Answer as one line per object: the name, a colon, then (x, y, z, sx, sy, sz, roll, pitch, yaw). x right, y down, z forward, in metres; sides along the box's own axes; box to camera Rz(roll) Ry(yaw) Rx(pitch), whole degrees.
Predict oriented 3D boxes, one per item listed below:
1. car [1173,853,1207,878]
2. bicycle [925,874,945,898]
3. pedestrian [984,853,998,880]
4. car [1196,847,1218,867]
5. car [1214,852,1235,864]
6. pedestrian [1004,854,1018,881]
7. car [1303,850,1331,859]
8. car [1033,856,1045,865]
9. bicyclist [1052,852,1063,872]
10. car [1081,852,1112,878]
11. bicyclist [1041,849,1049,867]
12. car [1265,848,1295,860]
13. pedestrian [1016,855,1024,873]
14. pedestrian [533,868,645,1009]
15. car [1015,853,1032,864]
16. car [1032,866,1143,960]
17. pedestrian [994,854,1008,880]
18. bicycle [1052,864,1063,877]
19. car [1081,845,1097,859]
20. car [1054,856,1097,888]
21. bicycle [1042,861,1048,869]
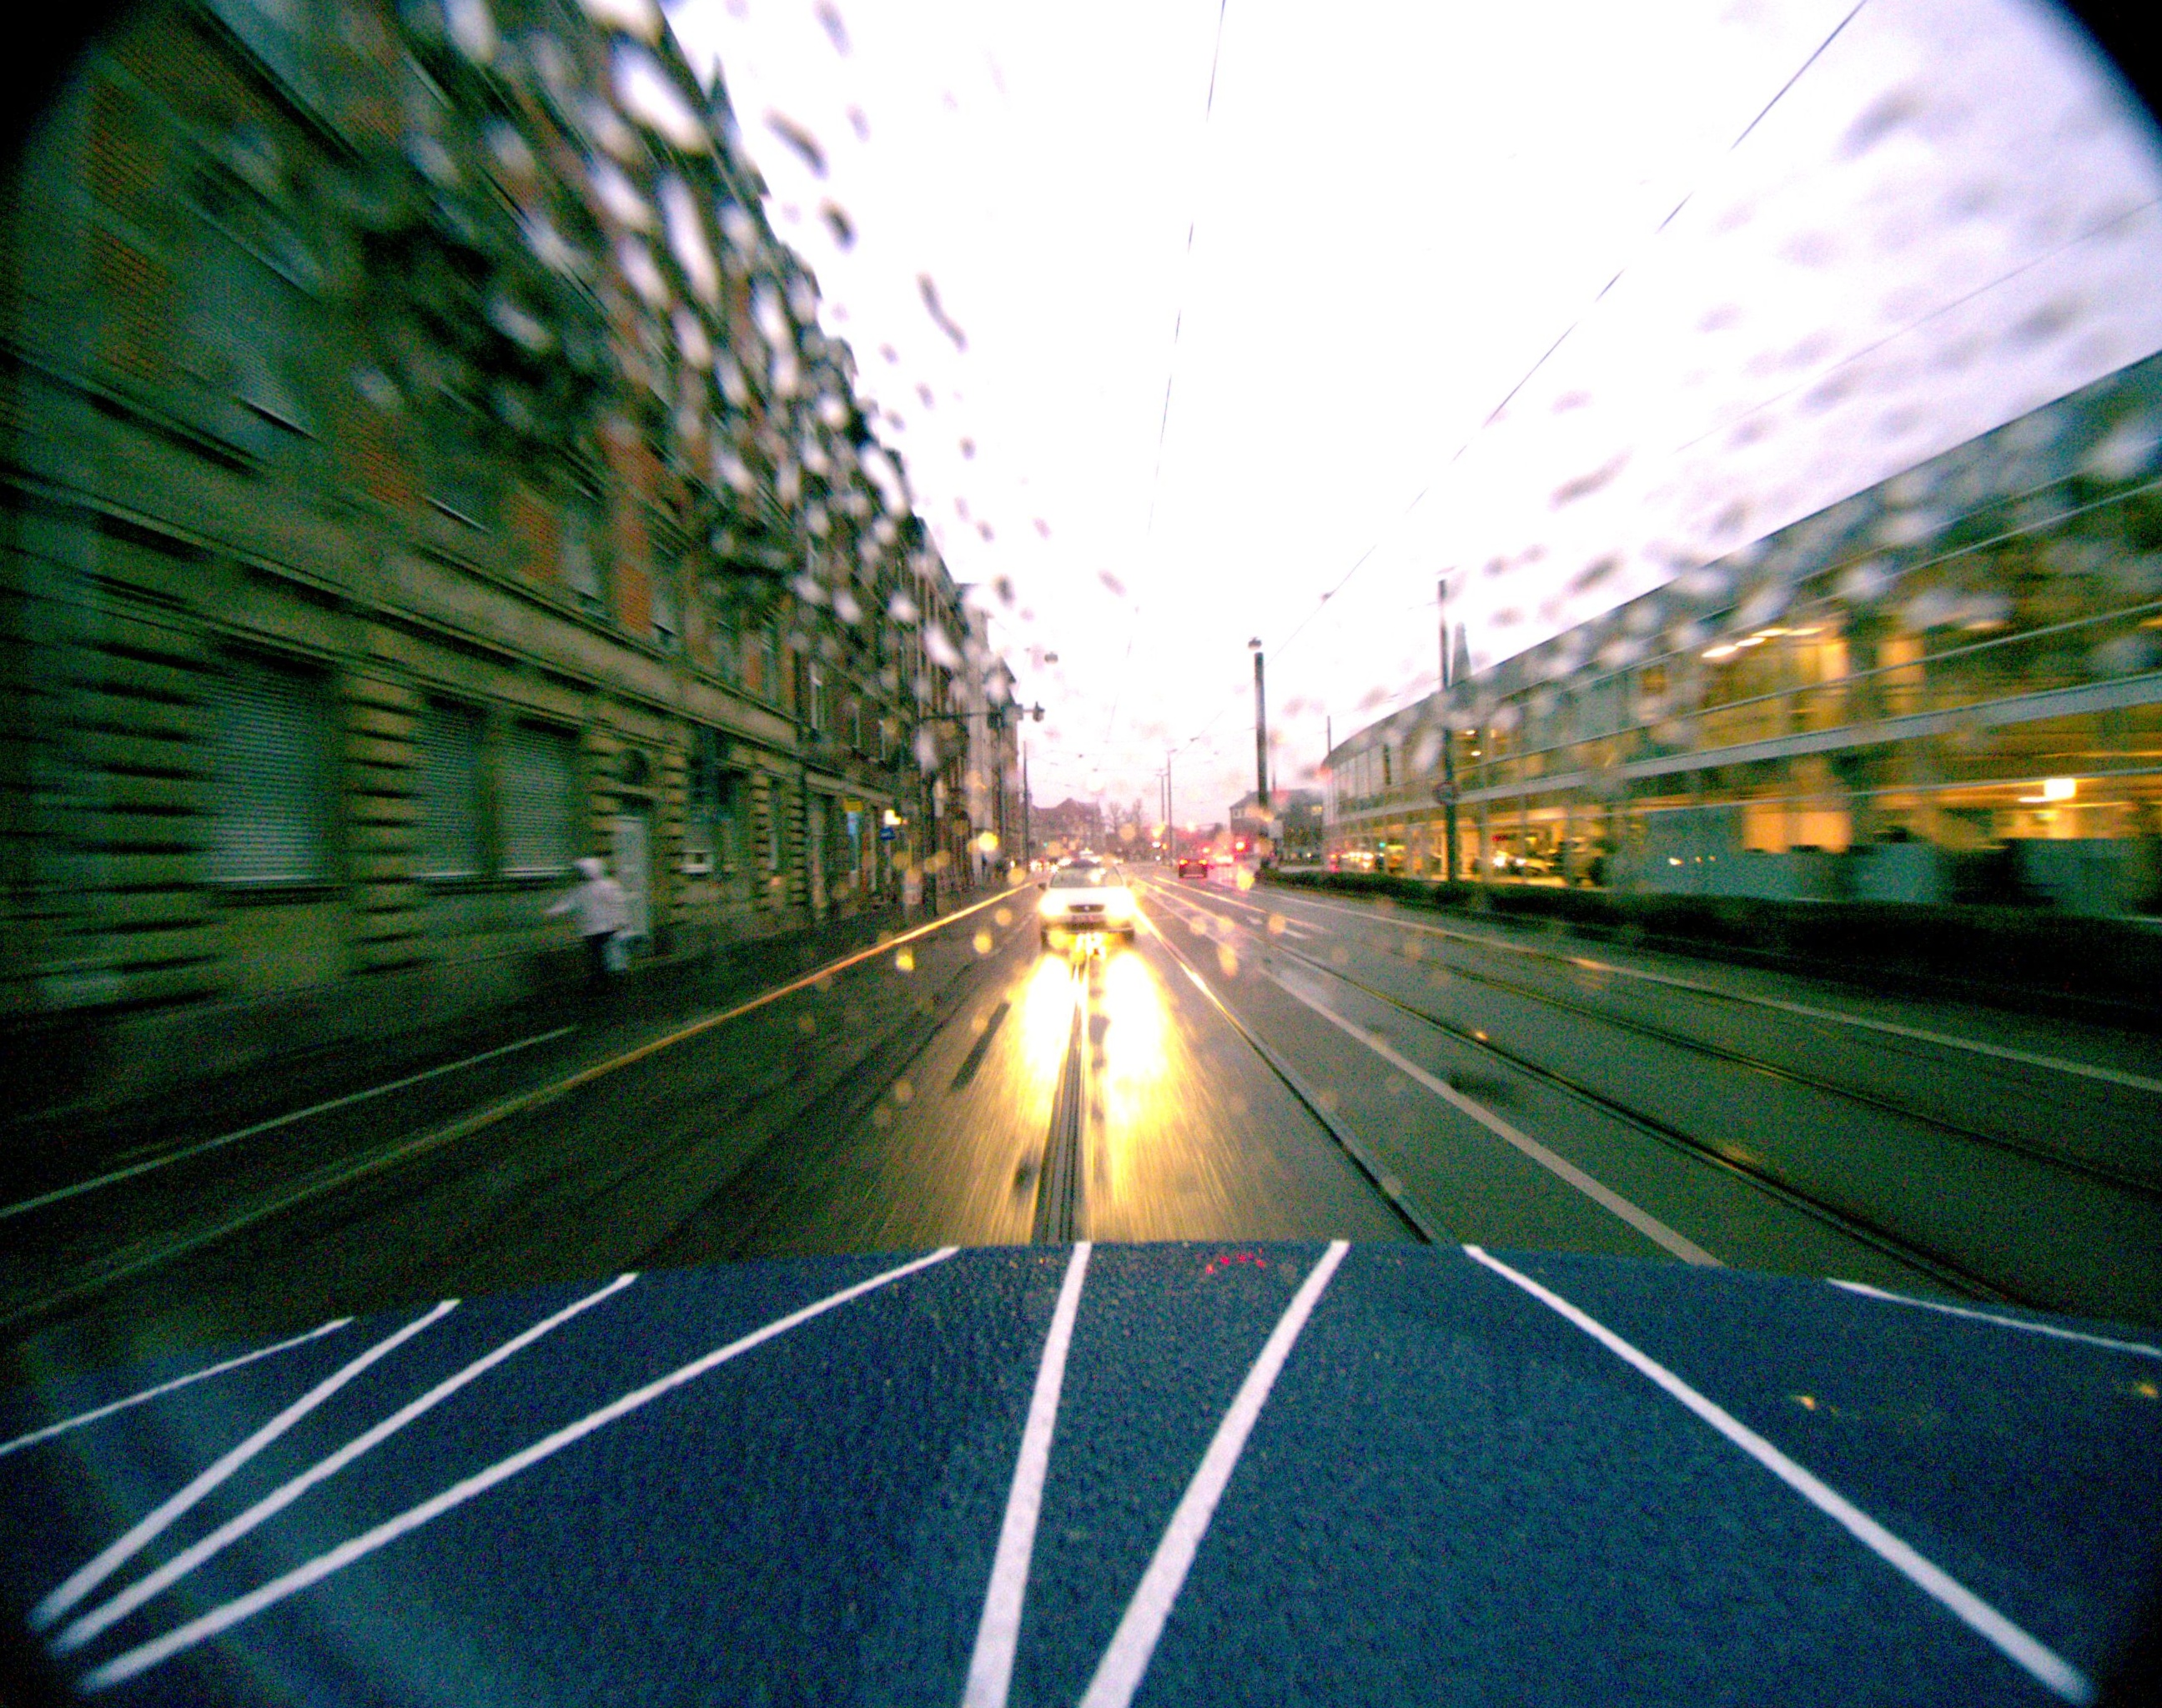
car: (7.331, 0.756, 51.361, 1.845, 1.569, 4.442, -2, 0, 2)
bicycle: (-5.977, 1.304, 31.208, 0.398, 0.906, 1.866, -2, 0, 1)
pedestrian: (-5.753, 0.805, 48.559, 0.777, 1.734, 0.673, -1, 1, 1)
car: (14.037, 0.312, 84.666, 1.998, 2.002, 4.685, -2, 1, 5)
car: (17.828, 0.489, 94.549, 1.998, 1.413, 4.588, -2, 0, 4)
pedestrian: (-4.569, 0.881, 49.672, 0.777, 1.734, 0.673, -1, 1, 1)
car: (38.645, 0.085, 124.589, 2.003, 1.302, 3.990, -3, 1, -36)
car: (-7.672, 1.229, 140.079, 1.829, 1.499, 3.801, -2, 0, -8)
bicyclist: (-1.832, 0.645, 59.502, 0.727, 1.525, 0.785, -2, 1, 0)
car: (0.999, 0.673, 48.807, 1.824, 1.565, 4.000, -2, 0, 2)
bicyclist: (-3.856, 0.440, 80.991, 0.747, 1.869, 1.111, -2, 1, -1)
car: (37.056, -0.081, 141.166, 5.561, 2.002, 1.995, -3, 1, -31)
pedestrian: (-5.136, 0.837, 64.360, 0.633, 1.539, 0.710, -2, 1, -5)
pedestrian: (-5.892, 0.986, 9.137, 0.787, 1.588, 0.742, -2, 1, 4)
car: (-9.803, 0.750, 130.668, 1.997, 1.827, 4.873, -2, 0, 6)
car: (0.208, 1.010, 14.608, 1.797, 1.415, 4.000, -2, 0, 3)
pedestrian: (-5.373, 0.851, 50.911, 0.777, 1.734, 0.673, -1, 1, 1)
bicycle: (-1.809, 1.294, 59.479, 0.725, 0.985, 2.212, -2, 0, 0)
car: (1.148, -0.311, 103.665, 2.018, 1.809, 3.688, -2, 1, 1)
car: (-0.217, 0.836, 37.065, 1.797, 1.415, 4.000, -2, 0, 3)
bicycle: (-3.825, 1.164, 80.985, 0.609, 0.757, 1.860, -1, 1, -1)
